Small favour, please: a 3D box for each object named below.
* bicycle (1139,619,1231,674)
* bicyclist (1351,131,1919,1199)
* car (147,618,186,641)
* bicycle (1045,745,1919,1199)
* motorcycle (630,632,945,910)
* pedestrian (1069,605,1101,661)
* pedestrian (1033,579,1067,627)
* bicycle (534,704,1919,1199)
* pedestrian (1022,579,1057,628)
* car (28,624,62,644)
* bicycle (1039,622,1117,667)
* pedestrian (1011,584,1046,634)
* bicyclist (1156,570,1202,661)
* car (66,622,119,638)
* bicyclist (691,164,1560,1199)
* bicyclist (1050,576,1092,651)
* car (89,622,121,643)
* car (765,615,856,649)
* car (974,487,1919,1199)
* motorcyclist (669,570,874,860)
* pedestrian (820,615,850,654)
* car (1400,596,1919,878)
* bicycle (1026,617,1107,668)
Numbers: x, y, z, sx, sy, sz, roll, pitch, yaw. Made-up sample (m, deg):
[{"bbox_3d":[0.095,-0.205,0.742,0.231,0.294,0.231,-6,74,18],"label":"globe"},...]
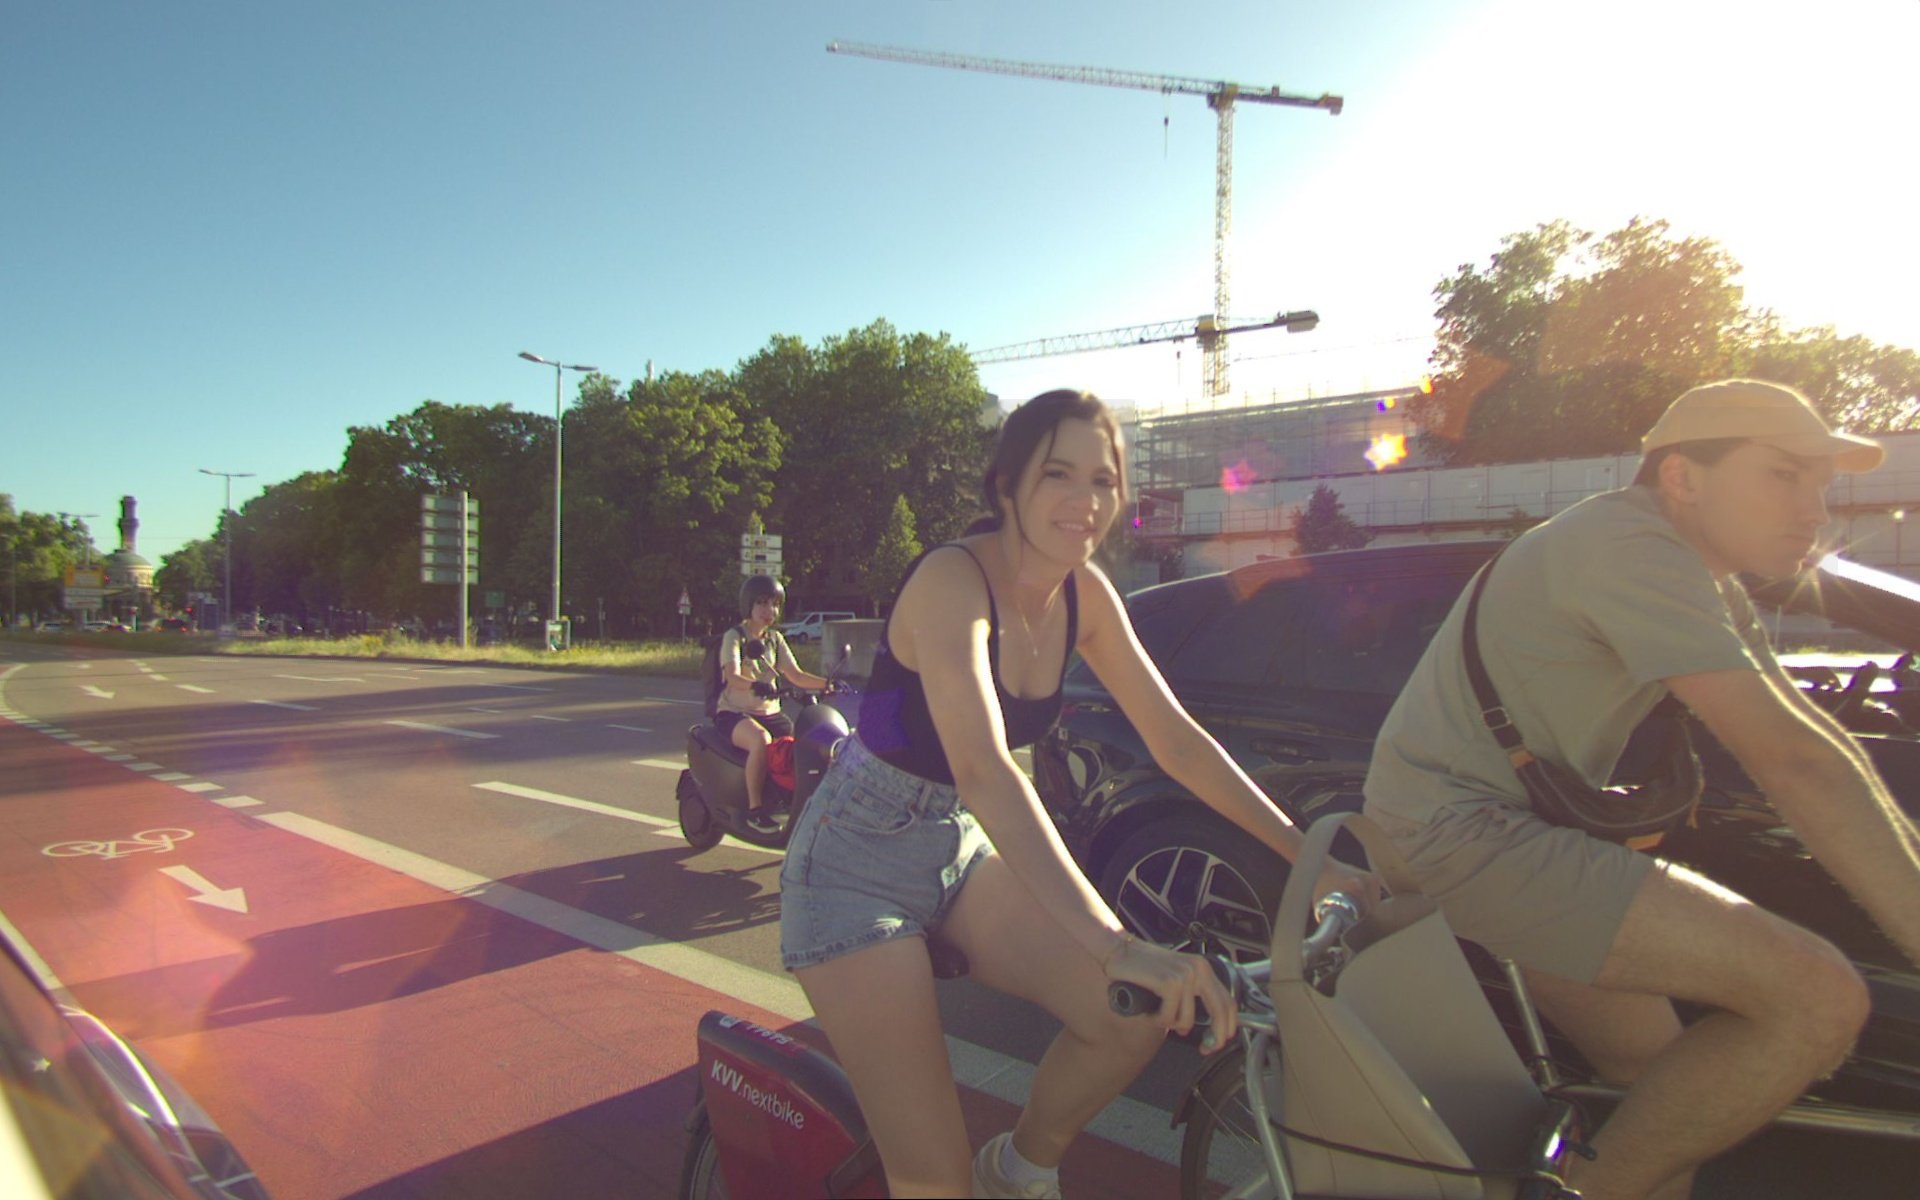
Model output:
[{"bbox_3d":[7.887,1.637,35.598,3.079,1.824,0.831,-3,-1,40],"label":"bicycle"},{"bbox_3d":[1.071,0.352,1.333,0.841,1.618,0.709,-1,-1,39],"label":"bicyclist"},{"bbox_3d":[-65.799,2.417,83.893,3.998,1.841,1.796,-1,0,41],"label":"car"},{"bbox_3d":[1.112,0.851,1.282,1.968,1.118,0.640,-2,-1,39],"label":"bicycle"},{"bbox_3d":[-1.034,0.843,5.728,1.883,1.303,0.715,-2,-1,41],"label":"motorcycle"},{"bbox_3d":[5.437,1.437,44.043,1.017,2.393,1.008,-1,0,39],"label":"pedestrian"},{"bbox_3d":[3.862,0.139,43.270,1.135,2.029,0.930,-1,0,35],"label":"pedestrian"},{"bbox_3d":[0.240,0.811,1.254,1.829,1.227,0.610,-2,-1,39],"label":"bicycle"},{"bbox_3d":[3.348,0.146,42.423,1.135,2.029,0.930,-1,0,35],"label":"pedestrian"},{"bbox_3d":[-82.607,3.044,91.395,3.998,1.699,1.826,-1,0,41],"label":"car"},{"bbox_3d":[5.150,1.917,44.286,3.355,1.824,1.066,-1,0,40],"label":"bicycle"},{"bbox_3d":[2.812,0.360,41.596,1.135,2.029,0.930,-1,0,35],"label":"pedestrian"},{"bbox_3d":[7.725,0.533,35.737,1.305,3.126,0.831,-1,0,39],"label":"bicyclist"},{"bbox_3d":[-94.303,3.243,110.015,3.931,1.699,1.856,-1,0,-17],"label":"car"},{"bbox_3d":[0.202,0.472,1.281,0.874,1.591,0.635,-2,-1,39],"label":"bicyclist"},{"bbox_3d":[4.187,0.510,38.057,1.305,2.749,0.831,-1,0,39],"label":"bicyclist"},{"bbox_3d":[-79.876,3.034,94.525,3.945,1.802,1.725,-1,0,41],"label":"car"},{"bbox_3d":[-9.066,1.925,61.842,2.065,1.950,5.443,-1,-2,42],"label":"car"},{"bbox_3d":[2.415,0.577,3.024,4.677,1.647,1.753,-1,0,40],"label":"car"},{"bbox_3d":[-1.080,0.597,5.768,0.917,1.485,0.717,-2,-1,41],"label":"motorcyclist"},{"bbox_3d":[-6.021,1.669,48.810,1.018,1.845,0.977,-1,0,37],"label":"pedestrian"},{"bbox_3d":[4.973,0.755,6.544,3.603,1.497,1.477,-2,-1,41],"label":"car"},{"bbox_3d":[3.996,1.601,38.223,3.079,1.824,0.831,-3,-1,40],"label":"bicycle"}]
